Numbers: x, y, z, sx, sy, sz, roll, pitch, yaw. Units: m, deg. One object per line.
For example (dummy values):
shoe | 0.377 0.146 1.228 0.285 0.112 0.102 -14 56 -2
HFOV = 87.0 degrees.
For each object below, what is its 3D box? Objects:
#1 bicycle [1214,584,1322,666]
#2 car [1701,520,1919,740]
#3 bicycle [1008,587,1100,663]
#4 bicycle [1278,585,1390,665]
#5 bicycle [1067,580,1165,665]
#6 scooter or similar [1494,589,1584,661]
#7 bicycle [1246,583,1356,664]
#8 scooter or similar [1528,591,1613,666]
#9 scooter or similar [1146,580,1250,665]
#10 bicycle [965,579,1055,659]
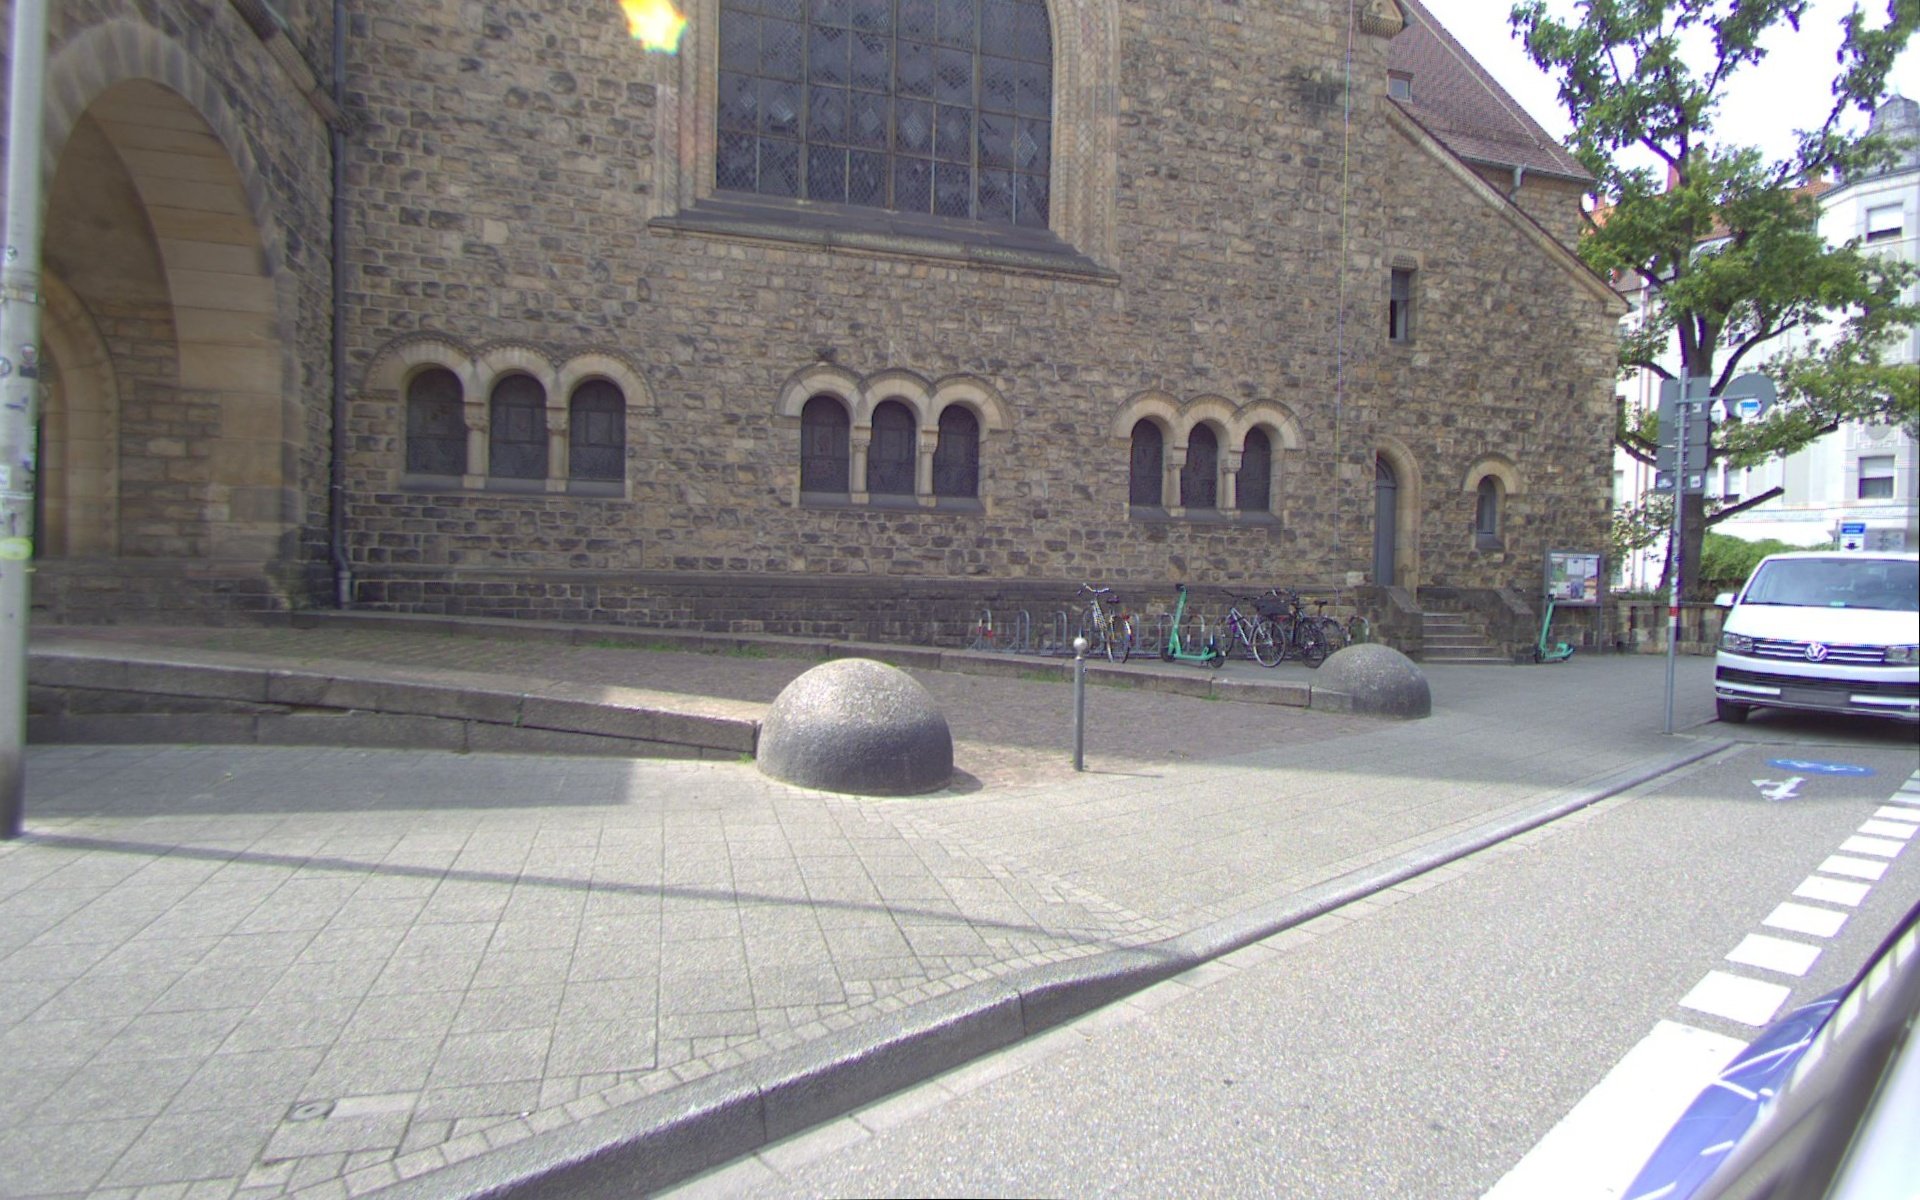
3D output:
bicycle | 4.585 0.345 15.210 0.534 1.125 1.786 1 1 -21
car | 10.418 0.257 11.633 5.035 2.054 2.018 0 3 -42
bicycle | 1.304 0.331 14.409 0.534 0.969 1.786 1 1 -21
bicycle | 5.743 0.355 15.655 0.534 1.125 1.786 1 1 -21
bicycle | 2.218 0.294 14.622 0.534 1.125 1.786 1 1 -21
scooter or similar | 10.262 0.444 17.946 1.450 1.222 0.547 1 1 -21
bicycle | 5.156 0.333 15.409 0.534 1.125 1.779 1 1 -21
scooter or similar | 10.434 0.485 17.284 1.413 1.222 0.547 1 1 -27
scooter or similar | 3.464 0.298 14.861 0.534 1.154 1.786 1 1 -21
bicycle | 0.671 0.240 14.218 0.534 0.969 1.787 1 3 -21
